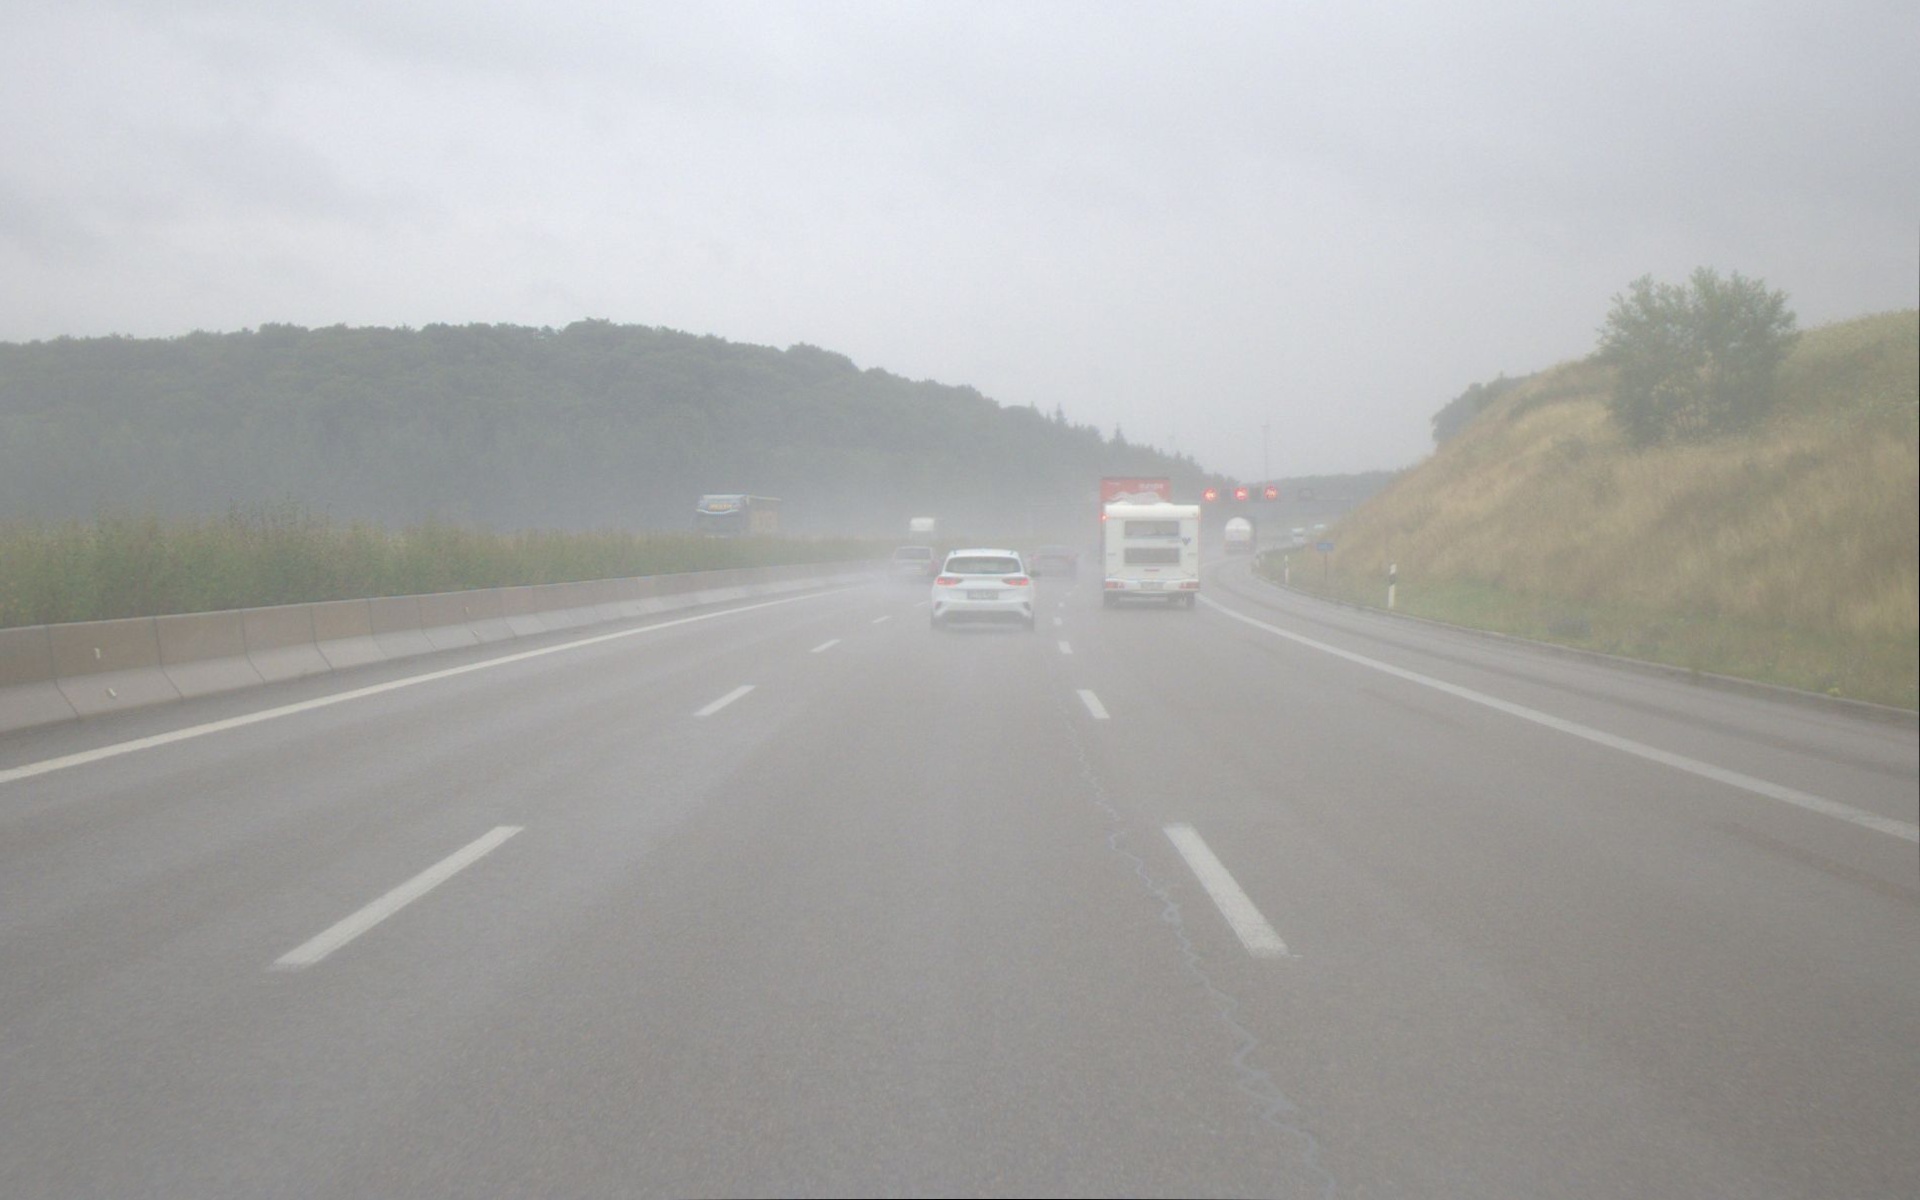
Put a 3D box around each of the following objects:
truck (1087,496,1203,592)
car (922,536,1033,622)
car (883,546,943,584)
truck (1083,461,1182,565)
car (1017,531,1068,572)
[{"bbox_3d":[4.423,-1.342,82.915,2.407,2.244,4.693,0,1,-2],"label":"truck"},{"bbox_3d":[0.328,-0.363,60.357,1.867,1.458,4.000,0,0,1],"label":"car"},{"bbox_3d":[-1.564,-1.133,112.303,1.823,1.152,4.213,1,0,-2],"label":"car"},{"bbox_3d":[6.627,-3.322,130.883,3.527,3.730,11.425,1,2,4],"label":"truck"},{"bbox_3d":[3.300,-1.933,137.522,1.993,1.612,4.000,0,1,1],"label":"car"}]
